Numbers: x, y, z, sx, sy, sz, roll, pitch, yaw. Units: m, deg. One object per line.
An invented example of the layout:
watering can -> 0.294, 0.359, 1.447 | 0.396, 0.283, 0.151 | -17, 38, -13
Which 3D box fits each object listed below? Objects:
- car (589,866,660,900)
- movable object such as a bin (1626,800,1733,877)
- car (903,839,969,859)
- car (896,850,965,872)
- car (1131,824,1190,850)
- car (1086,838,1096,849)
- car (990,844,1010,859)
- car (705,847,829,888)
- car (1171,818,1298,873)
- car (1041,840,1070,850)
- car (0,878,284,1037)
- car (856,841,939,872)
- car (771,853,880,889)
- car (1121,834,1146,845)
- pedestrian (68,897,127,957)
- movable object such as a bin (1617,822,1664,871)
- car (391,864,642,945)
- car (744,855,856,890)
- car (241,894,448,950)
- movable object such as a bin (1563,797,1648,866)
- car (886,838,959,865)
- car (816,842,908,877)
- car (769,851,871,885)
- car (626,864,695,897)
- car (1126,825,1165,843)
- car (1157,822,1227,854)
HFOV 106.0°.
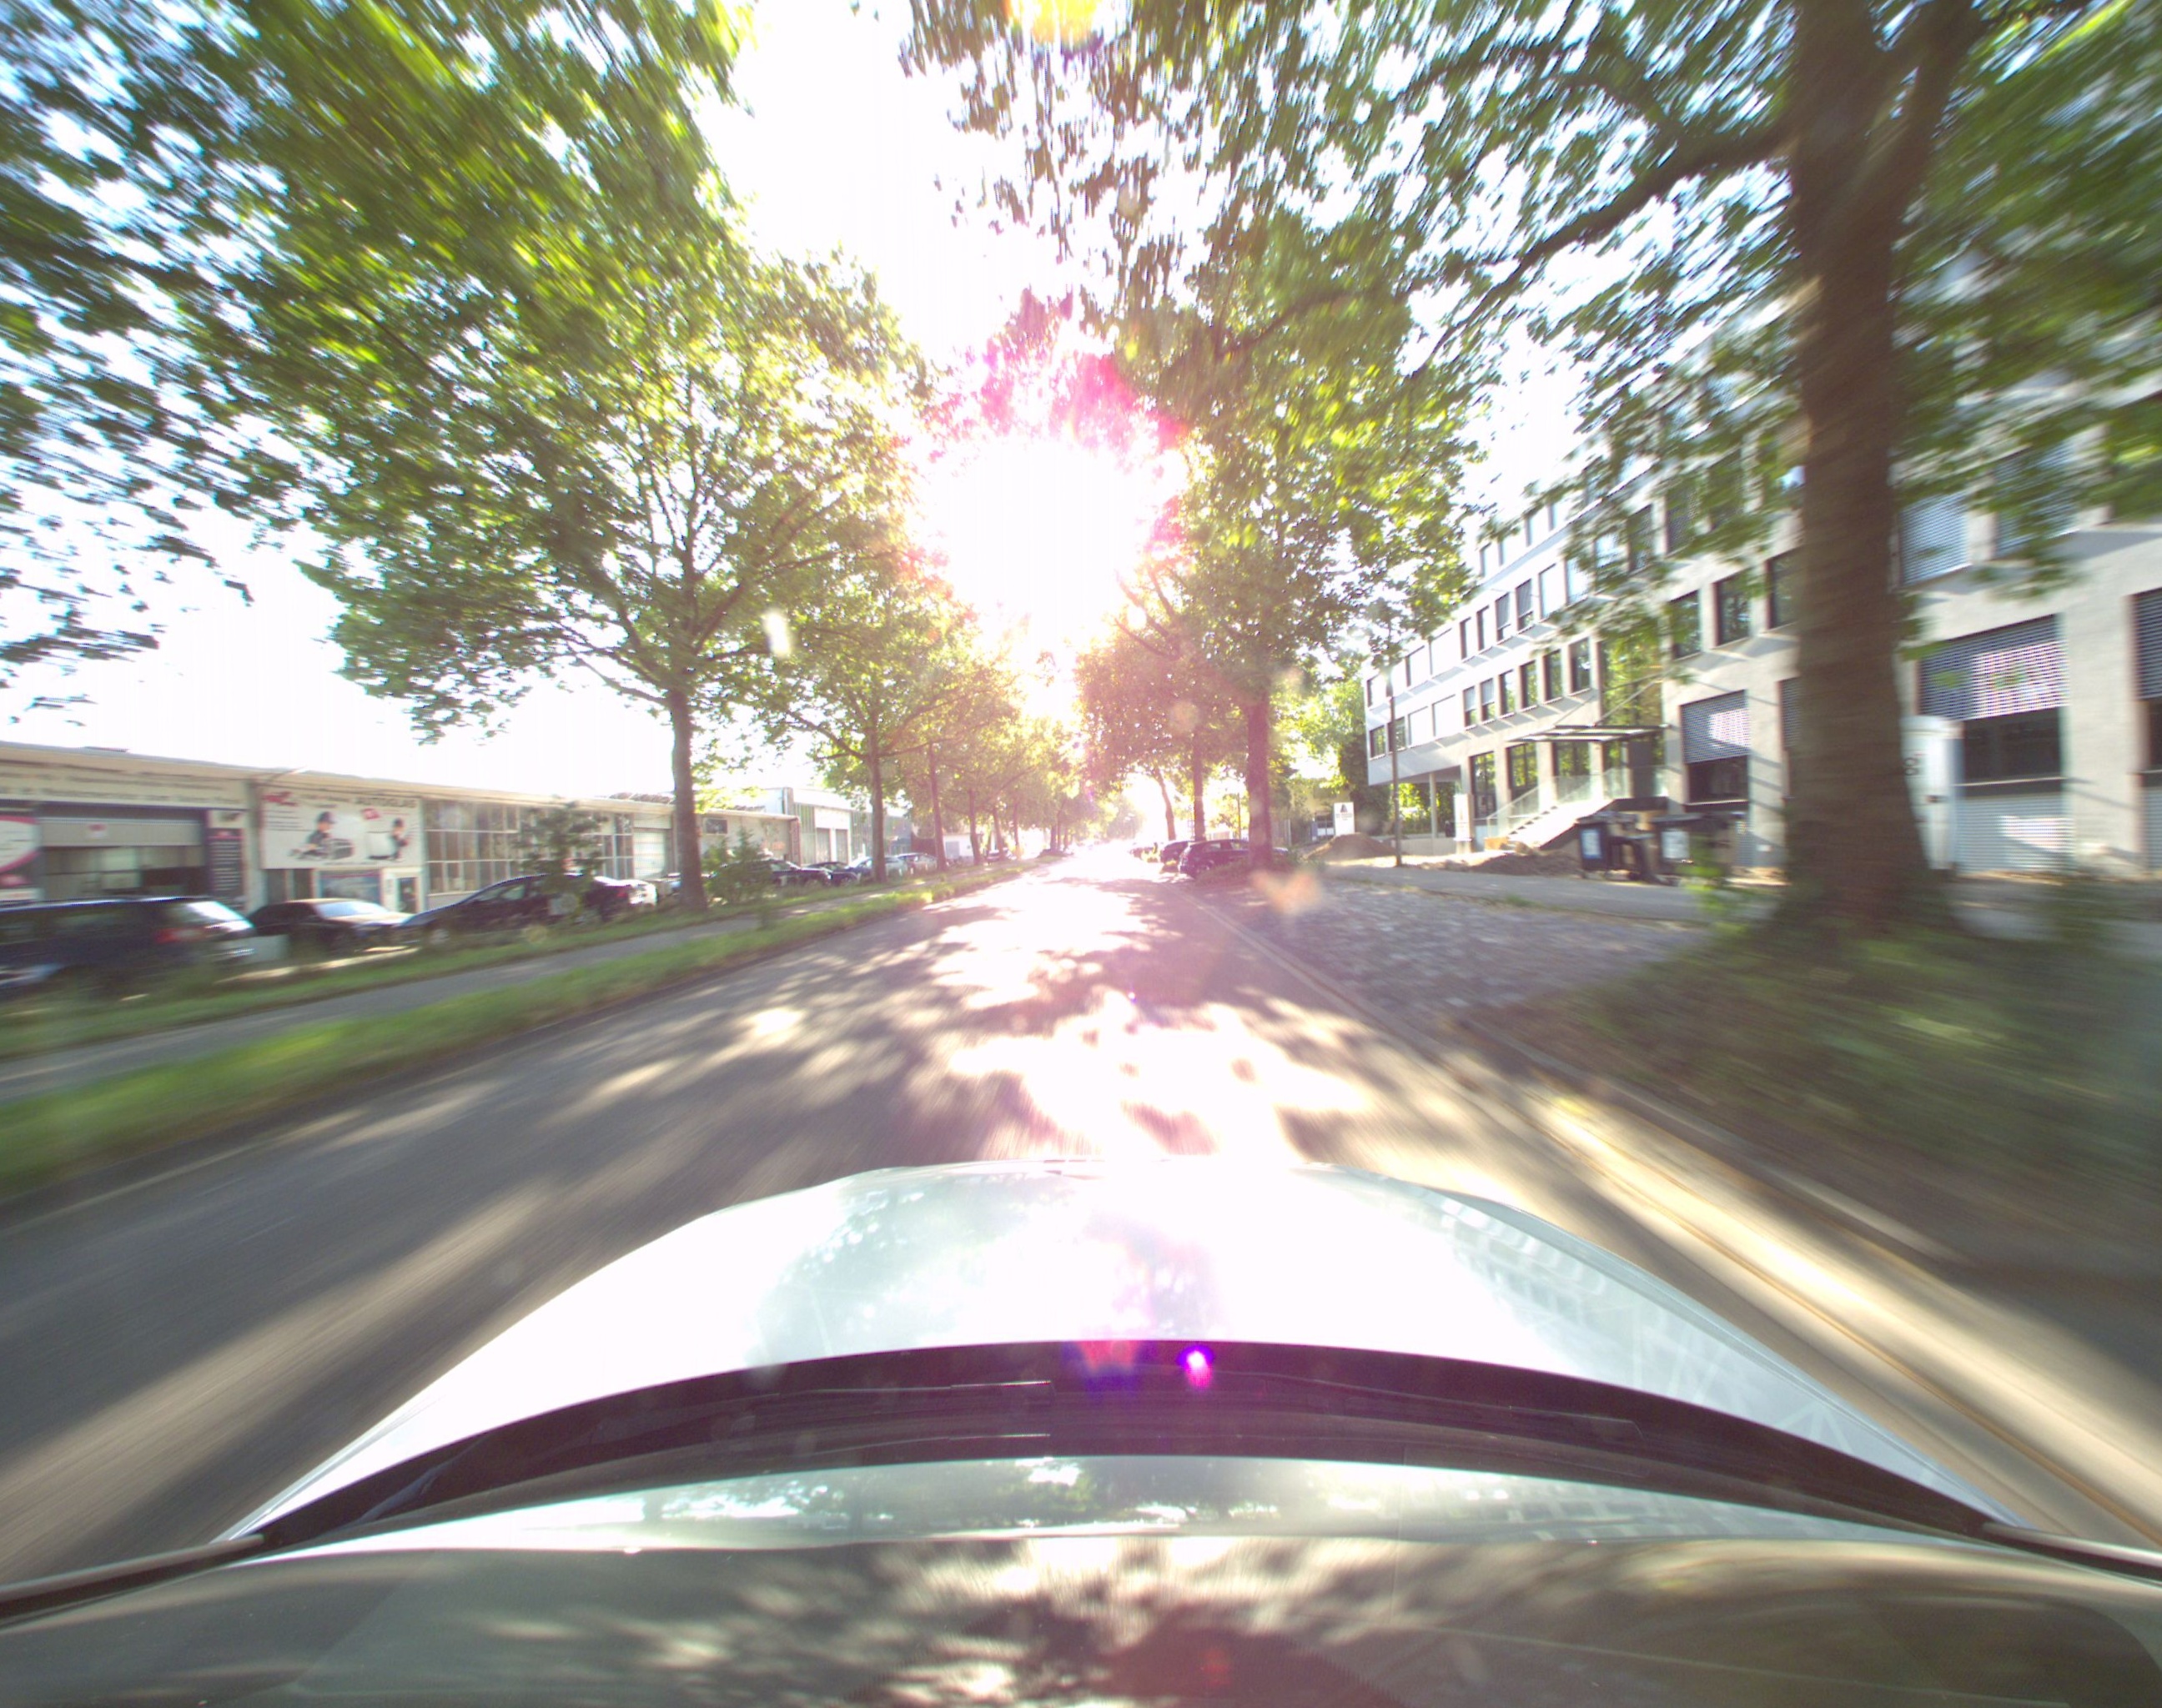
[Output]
car -> -20.604, 1.277, 36.762 | 3.255, 1.385, 1.563 | -1, 1, 36
movable object such as a bin -> 10.605, -0.272, 14.493 | 0.745, 1.263, 1.612 | -1, 1, 2
car -> -11.093, -0.416, 62.403 | 4.508, 1.305, 1.977 | -4, 2, -40
car -> -10.920, 0.468, 59.330 | 4.508, 1.305, 1.977 | -4, 2, -40
car -> 6.560, -1.410, 67.786 | 4.558, 1.715, 1.942 | -5, 1, -2
car -> 2.580, -2.680, 205.455 | 2.120, 2.659, 7.005 | -3, 2, 2
car -> -9.237, -0.305, 93.428 | 1.989, 1.369, 3.916 | -7, 1, -3
car -> -12.649, 0.496, 32.866 | 4.282, 1.452, 1.978 | -2, 1, -37
car -> 5.645, -0.320, 30.312 | 4.271, 1.485, 1.860 | -7, 1, -1
car -> -4.256, -1.585, 136.108 | 4.584, 1.422, 2.001 | -2, 2, 0
car -> -13.830, 1.308, 10.306 | 4.904, 1.759, 1.985 | -2, 1, -23
car -> -10.598, 0.113, 47.257 | 1.975, 1.629, 4.288 | -1, 1, 44
car -> -11.521, 0.729, 36.864 | 4.282, 1.452, 1.978 | -2, 1, -37
car -> 9.634, -2.586, 149.426 | 4.581, 1.579, 2.002 | -6, 0, 3
pedestrian -> -25.590, 1.890, 21.195 | 0.688, 1.472, 0.687 | -1, 0, 9
movable object such as a bin -> 10.738, -0.148, 15.637 | 0.490, 0.900, 0.599 | -1, 0, 0
car -> -12.675, 1.067, 18.678 | 4.354, 1.530, 1.985 | -2, 1, -22
car -> -12.472, 0.777, 36.208 | 4.282, 1.382, 1.978 | -2, 1, -37
car -> -20.412, 1.835, 22.657 | 4.430, 1.321, 2.007 | 0, 1, 12
movable object such as a bin -> 10.792, -0.456, 16.820 | 0.745, 1.350, 1.621 | -1, 1, 2
car -> -10.969, -0.205, 56.509 | 4.504, 1.730, 1.978 | -2, 1, -36
car -> -11.636, 0.284, 43.478 | 1.975, 1.699, 4.288 | -1, 1, 45
car -> -12.608, 0.634, 39.406 | 4.282, 1.452, 1.978 | -2, 1, -37
car -> -19.818, 1.224, 38.375 | 3.255, 1.406, 1.720 | -1, 1, 39
car -> 8.046, -2.498, 102.438 | 4.611, 1.711, 2.000 | -6, 1, -1
car -> 6.532, -0.929, 48.297 | 3.773, 1.486, 1.860 | -6, 1, -1
